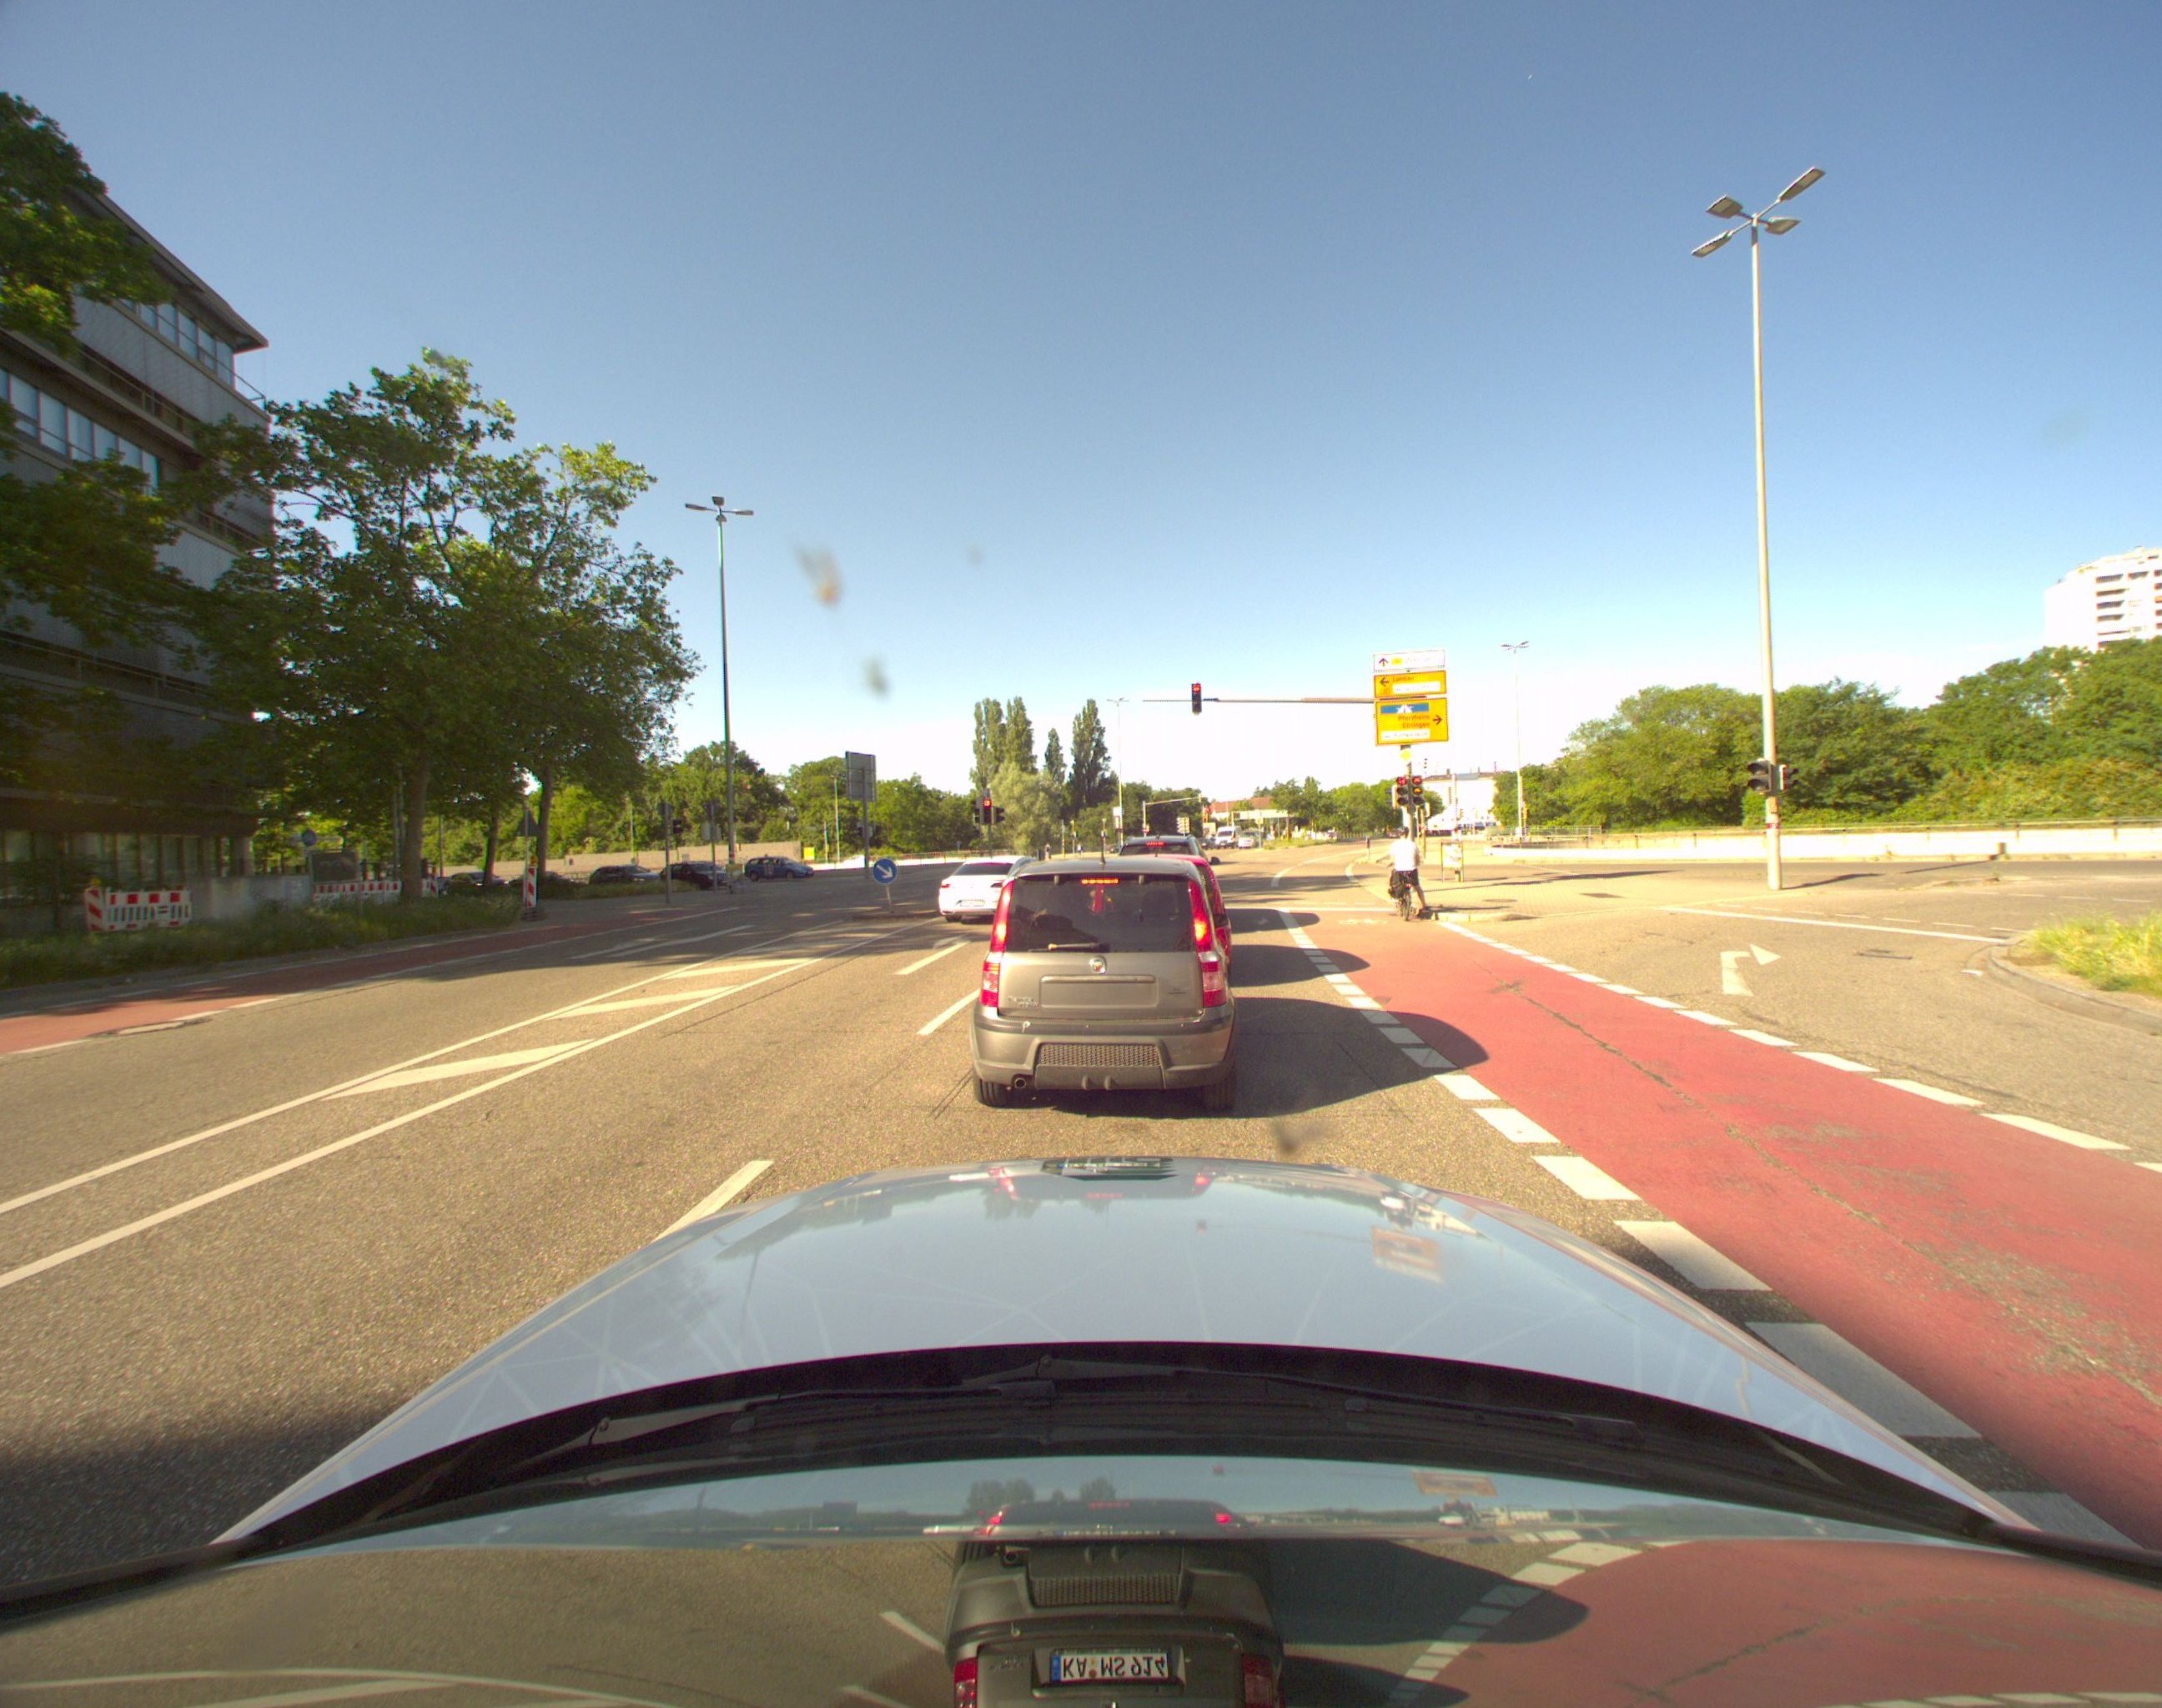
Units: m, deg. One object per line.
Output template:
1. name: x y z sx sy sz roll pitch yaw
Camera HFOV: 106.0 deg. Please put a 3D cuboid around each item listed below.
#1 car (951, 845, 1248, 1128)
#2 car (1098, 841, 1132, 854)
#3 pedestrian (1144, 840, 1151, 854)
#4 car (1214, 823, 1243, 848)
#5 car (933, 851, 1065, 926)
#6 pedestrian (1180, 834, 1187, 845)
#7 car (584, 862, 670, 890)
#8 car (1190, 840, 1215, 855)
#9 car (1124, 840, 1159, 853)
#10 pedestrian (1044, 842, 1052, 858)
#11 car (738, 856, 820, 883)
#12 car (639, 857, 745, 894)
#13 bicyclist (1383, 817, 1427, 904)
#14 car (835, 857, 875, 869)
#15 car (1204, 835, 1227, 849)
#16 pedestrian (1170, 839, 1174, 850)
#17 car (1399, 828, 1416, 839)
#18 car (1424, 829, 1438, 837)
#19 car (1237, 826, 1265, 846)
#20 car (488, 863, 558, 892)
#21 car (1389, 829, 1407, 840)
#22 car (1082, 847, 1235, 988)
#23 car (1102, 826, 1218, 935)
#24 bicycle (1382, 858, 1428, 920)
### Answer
1. car: 0.329 0.733 6.441 1.609 1.515 3.828 -2 1 7
2. car: 4.336 -0.802 104.249 4.018 1.625 1.880 0 -1 -37
3. pedestrian: 7.418 -0.786 90.748 0.557 1.547 0.573 -3 -1 -14
4. car: 16.463 -2.090 90.579 1.920 2.576 6.122 -2 1 22
5. car: -1.721 0.699 18.594 1.769 1.415 4.333 -1 1 11
6. pedestrian: 15.896 -2.226 126.167 0.782 1.664 0.633 -1 -1 42
7. car: -24.921 1.215 44.693 4.452 1.358 1.892 -2 1 27
8. car: 13.726 -0.781 91.629 1.920 1.507 4.020 -3 1 19
9. car: 7.626 -0.942 102.024 4.351 1.535 1.764 -3 2 -39
10. pedestrian: -3.049 -0.370 75.179 0.678 1.463 0.702 -2 1 -4
11. car: -18.897 0.964 50.935 4.410 1.540 1.960 -2 1 15
12. car: -19.657 1.086 41.182 4.731 1.621 1.961 -2 1 18
13. bicyclist: 6.412 0.120 16.168 0.718 1.659 1.118 -1 1 17
14. car: -27.466 1.117 98.811 4.463 1.382 1.796 -1 1 23
15. car: 16.229 -1.468 98.178 1.795 1.541 4.641 -3 1 21
16. pedestrian: 14.212 -1.425 126.965 0.494 1.701 0.503 -1 -1 26
17. car: 52.680 -3.303 131.331 1.926 1.528 4.123 -2 1 30
18. car: 69.102 -4.087 160.707 1.926 1.528 4.123 -2 1 30
19. car: 18.081 -1.934 86.548 1.920 2.008 4.958 -2 1 22
20. car: -35.179 1.485 51.315 4.451 1.644 1.892 -2 1 30
21. car: 48.862 -3.021 125.455 1.926 1.528 4.123 -2 1 30
22. car: 1.078 0.684 10.772 1.609 1.463 3.759 -2 1 7
23. car: 1.715 0.424 16.260 1.933 1.840 4.165 -2 1 10
24. bicycle: 6.443 0.669 16.260 0.686 1.102 1.834 -1 1 17
